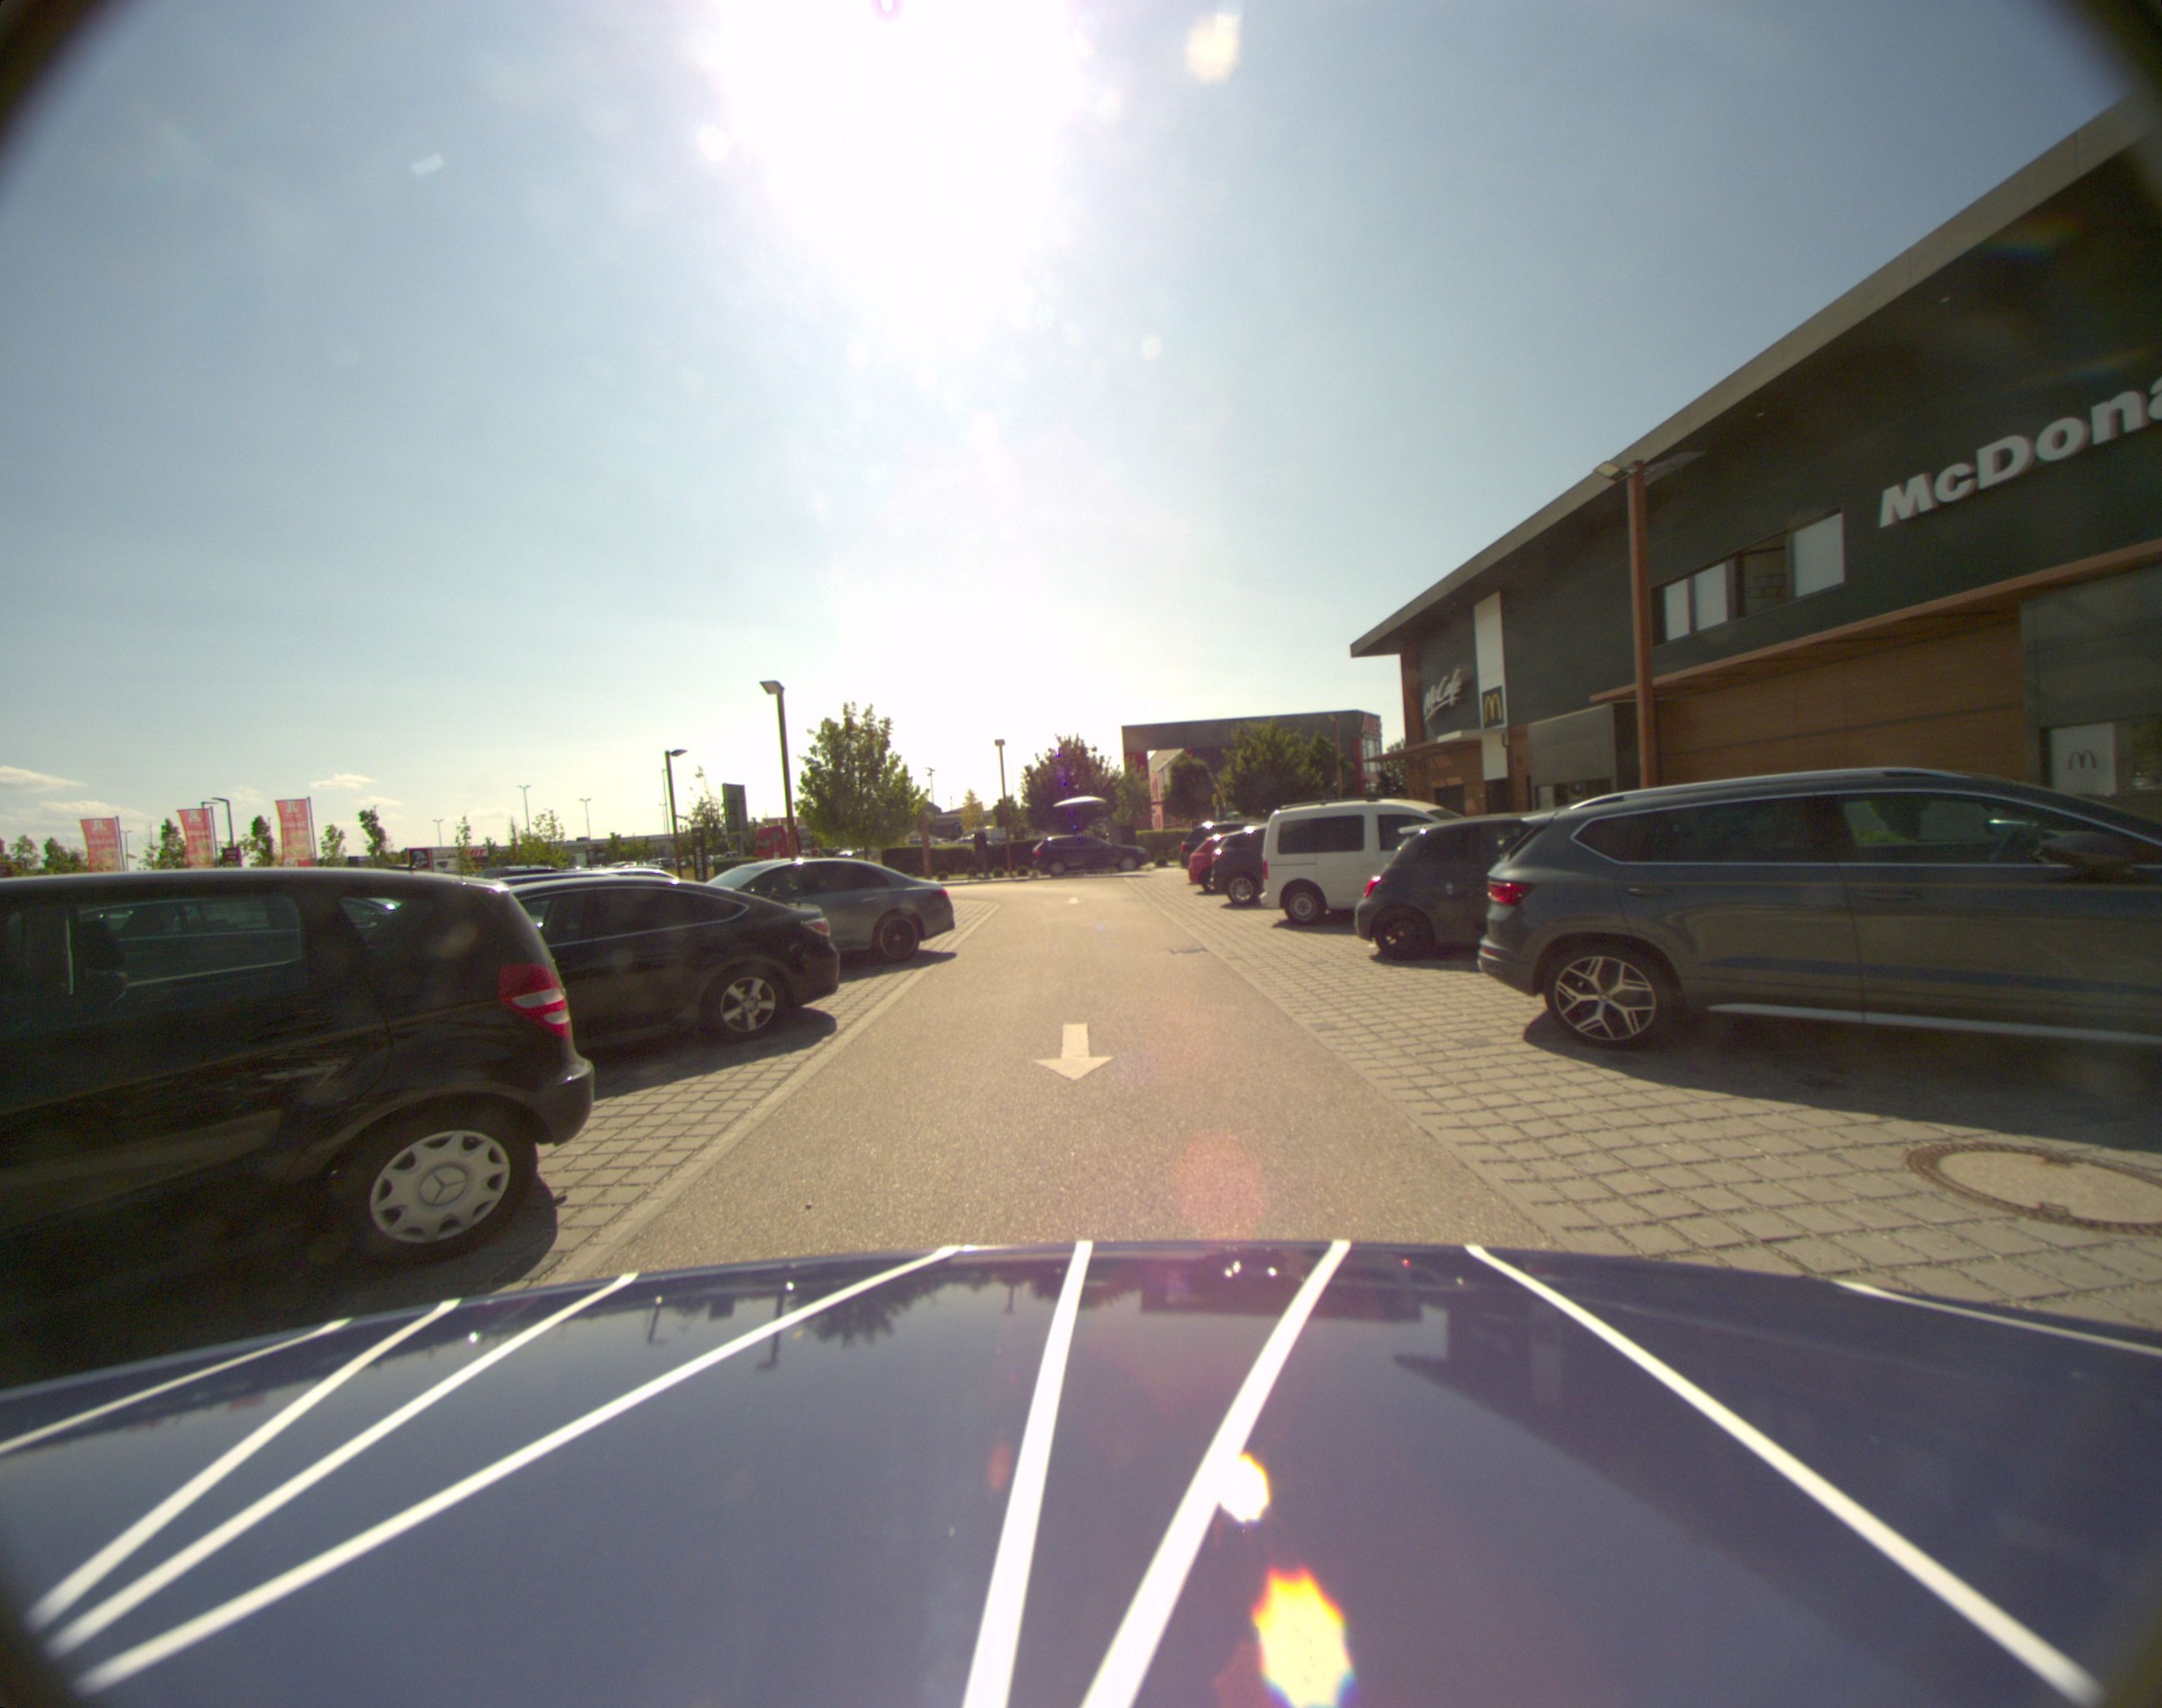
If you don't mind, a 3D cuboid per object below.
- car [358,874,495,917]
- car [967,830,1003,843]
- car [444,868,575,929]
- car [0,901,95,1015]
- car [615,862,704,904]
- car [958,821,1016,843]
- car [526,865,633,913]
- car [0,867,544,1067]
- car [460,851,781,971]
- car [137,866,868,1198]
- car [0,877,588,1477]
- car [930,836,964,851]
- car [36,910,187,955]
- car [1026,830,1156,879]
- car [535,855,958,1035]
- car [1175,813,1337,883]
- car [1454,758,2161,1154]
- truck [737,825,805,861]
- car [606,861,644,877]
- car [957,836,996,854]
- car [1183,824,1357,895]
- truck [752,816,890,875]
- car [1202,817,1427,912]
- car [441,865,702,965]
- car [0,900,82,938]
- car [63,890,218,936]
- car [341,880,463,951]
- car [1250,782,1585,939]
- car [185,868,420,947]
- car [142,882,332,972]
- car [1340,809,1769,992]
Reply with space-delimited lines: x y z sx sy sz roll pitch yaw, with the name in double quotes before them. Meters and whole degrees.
"car" -27.709 1.710 32.374 1.886 1.390 4.156 -3 2 7
"car" -11.145 -2.060 88.520 3.905 1.335 1.665 -4 2 -1
"car" -17.089 1.317 22.683 4.044 1.547 1.809 -2 2 35
"car" -16.764 1.579 11.518 3.989 1.481 1.824 -2 2 42
"car" -16.755 1.145 30.141 3.765 1.414 1.916 -2 2 43
"car" -11.273 -2.619 91.385 6.567 2.232 2.300 -4 2 -1
"car" -17.468 1.213 26.407 4.075 1.414 1.800 -2 2 38
"car" -9.162 1.079 8.816 4.424 1.502 1.978 -5 2 -44
"car" -7.986 0.865 13.481 4.424 1.502 1.978 -5 2 -44
"car" -4.053 0.982 6.056 4.082 1.441 1.824 -5 2 -45
"car" -4.155 1.037 2.355 1.807 1.584 4.007 -2 2 44
"car" -17.807 -1.363 101.131 1.889 1.718 4.263 -2 2 31
"car" -43.521 3.476 34.251 1.685 1.446 3.756 -3 2 7
"car" 0.370 -0.021 31.127 5.062 1.621 1.923 -4 2 -2
"car" -4.067 0.938 9.849 4.550 1.502 1.882 -5 2 -44
"car" 4.895 -0.131 21.502 4.028 1.696 1.678 -3 2 38
"car" 4.664 0.415 4.196 4.217 1.594 1.793 -5 3 44
"truck" -32.125 -1.110 78.595 7.545 3.333 2.426 -2 3 33
"car" -50.375 1.655 83.947 1.537 1.548 3.225 -3 2 27
"car" -11.455 -1.017 83.398 3.998 1.718 1.893 -4 2 -4
"car" 4.625 0.147 18.629 3.763 1.436 1.677 -4 2 28
"truck" -19.689 -0.689 57.940 9.121 3.845 3.210 -3 2 3
"car" 4.575 0.222 15.017 3.834 1.623 1.761 -3 2 33
"car" -9.790 1.072 14.788 3.910 1.418 1.702 -5 2 -43
"car" -49.922 3.103 35.332 1.685 1.503 3.756 -3 2 7
"car" -40.045 2.466 32.492 1.685 1.446 3.756 -3 2 7
"car" -16.921 1.434 18.844 4.669 1.403 1.715 -2 2 43
"car" 4.840 0.098 11.224 4.134 1.911 1.761 -2 2 39
"car" -22.084 1.427 21.884 2.071 1.740 4.366 -4 2 1
"car" -17.670 1.460 15.868 4.341 1.503 1.781 -3 2 31
"car" 4.684 0.416 7.843 3.406 1.474 1.571 -3 2 37
